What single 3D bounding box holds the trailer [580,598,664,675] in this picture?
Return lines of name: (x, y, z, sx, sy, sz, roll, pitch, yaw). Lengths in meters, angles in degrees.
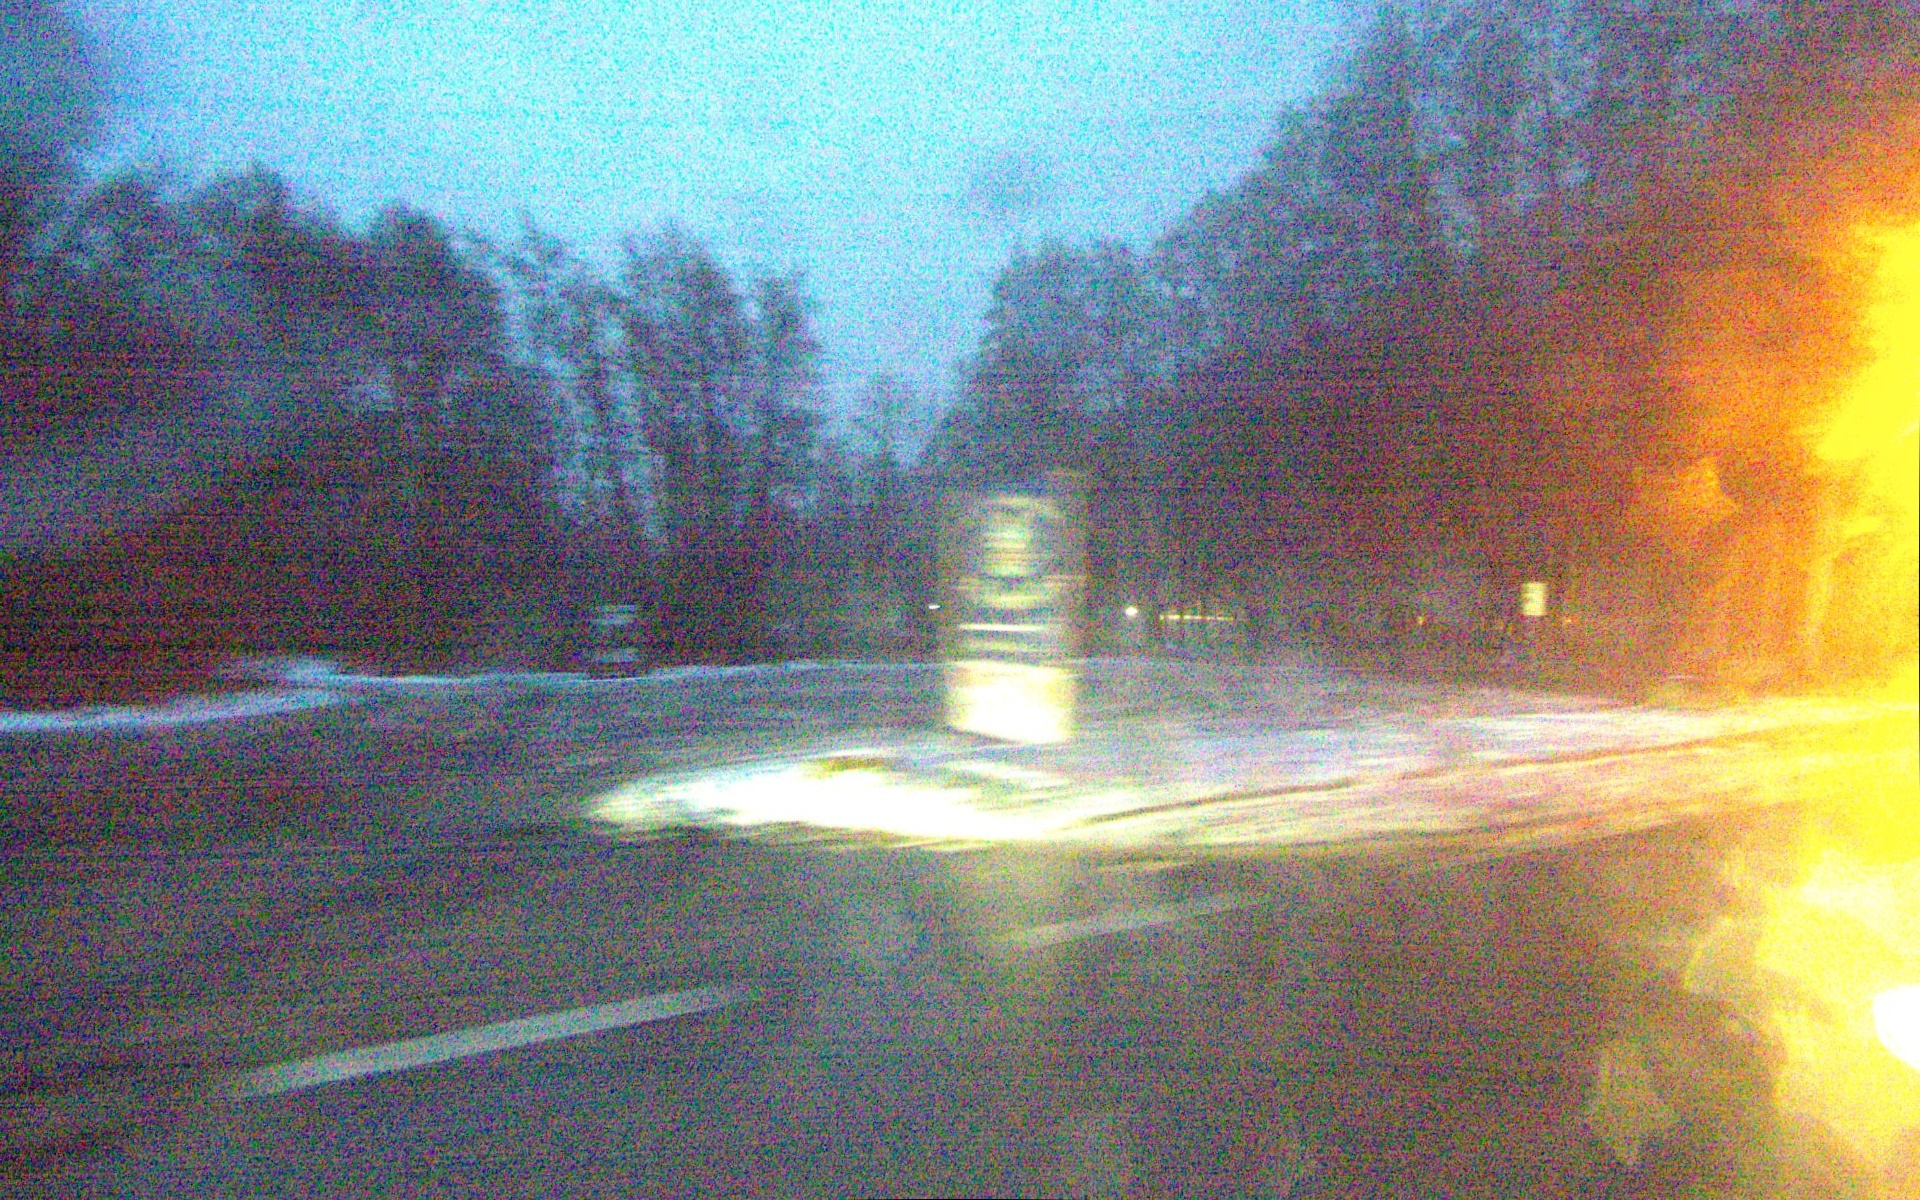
trailer: (-10.544, 1.188, 31.609, 1.939, 2.246, 3.804, 2, -3, -11)
